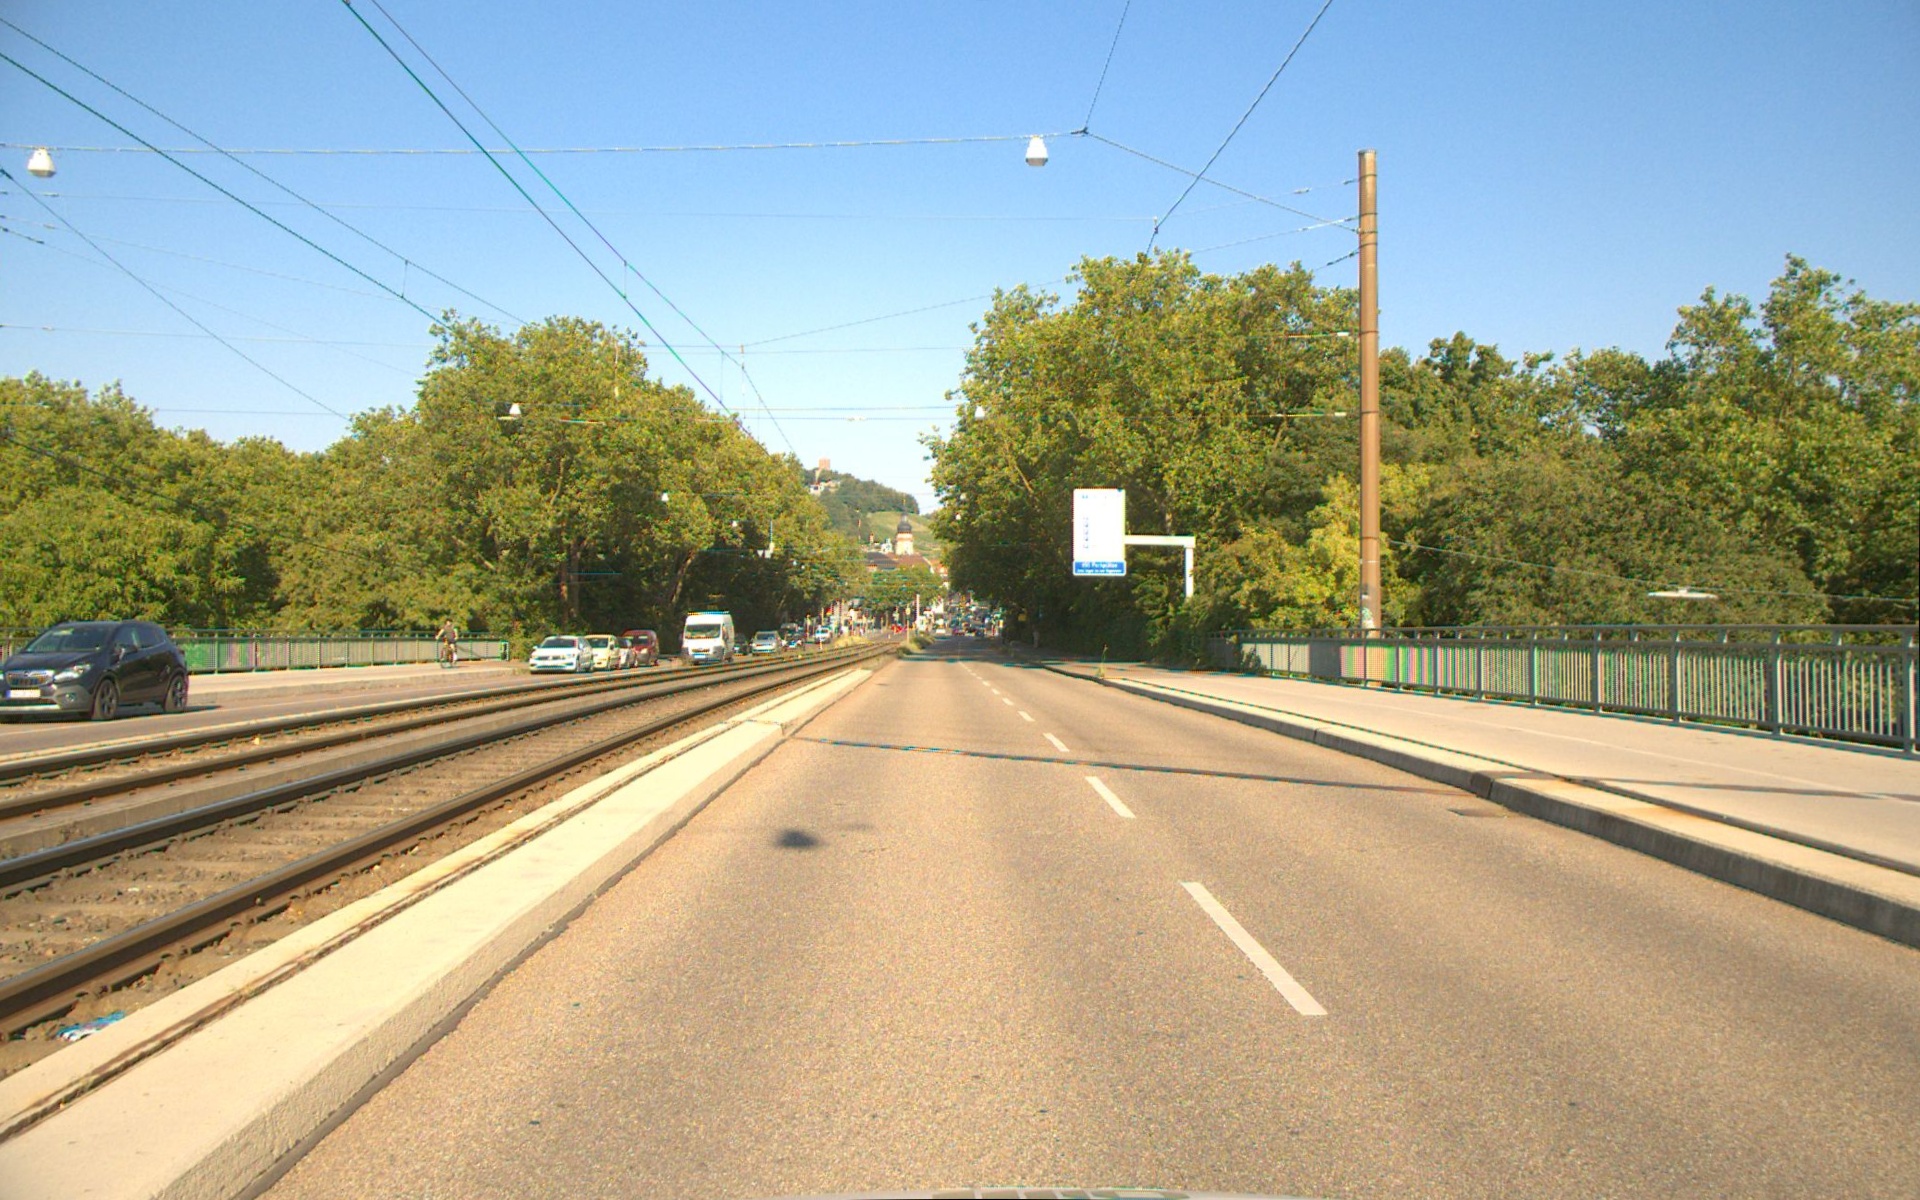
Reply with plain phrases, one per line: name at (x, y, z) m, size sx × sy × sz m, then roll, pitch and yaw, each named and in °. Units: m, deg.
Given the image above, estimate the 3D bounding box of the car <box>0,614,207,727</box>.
car at (-14.684, 1.125, 28.179) m, size 1.743 × 1.679 × 4.446 m, roll 0°, pitch 1°, yaw -1°

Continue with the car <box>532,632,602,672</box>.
car at (-15.345, 2.012, 64.771) m, size 1.706 × 1.490 × 4.953 m, roll 0°, pitch -1°, yaw -2°

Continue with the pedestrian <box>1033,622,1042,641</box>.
pedestrian at (6.583, 2.660, 140.667) m, size 0.787 × 1.573 × 0.814 m, roll -1°, pitch -1°, yaw 3°

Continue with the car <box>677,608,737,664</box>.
car at (-12.491, 1.757, 81.951) m, size 2.044 × 2.638 × 6.039 m, roll 1°, pitch -1°, yaw 0°

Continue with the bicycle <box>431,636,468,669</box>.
bicycle at (-18.302, 1.882, 59.369) m, size 0.666 × 1.117 × 2.099 m, roll 2°, pitch -1°, yaw -1°

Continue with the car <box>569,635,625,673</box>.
car at (-15.476, 2.283, 70.631) m, size 1.600 × 1.558 × 3.789 m, roll 0°, pitch -1°, yaw -1°

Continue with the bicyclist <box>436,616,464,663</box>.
bicyclist at (-18.285, 1.400, 59.304) m, size 0.666 × 1.655 × 0.890 m, roll 2°, pitch -1°, yaw -1°

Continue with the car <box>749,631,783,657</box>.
car at (-13.519, 3.067, 115.597) m, size 1.835 × 1.694 × 4.596 m, roll 0°, pitch -1°, yaw -1°

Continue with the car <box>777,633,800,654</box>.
car at (-14.555, 3.696, 140.576) m, size 1.707 × 1.652 × 4.392 m, roll -2°, pitch -1°, yaw -3°

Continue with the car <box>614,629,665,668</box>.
car at (-15.736, 2.358, 81.384) m, size 1.706 × 1.785 × 4.682 m, roll 0°, pitch -1°, yaw -2°

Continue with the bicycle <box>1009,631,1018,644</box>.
bicycle at (5.758, 4.090, 179.590) m, size 0.869 × 1.344 × 2.639 m, roll 0°, pitch -1°, yaw 0°

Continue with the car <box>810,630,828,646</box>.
car at (-17.298, 4.649, 202.479) m, size 1.954 × 1.877 × 5.298 m, roll -2°, pitch -1°, yaw -3°

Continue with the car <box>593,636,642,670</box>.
car at (-15.700, 2.429, 76.002) m, size 1.601 × 1.476 × 3.999 m, roll 0°, pitch -1°, yaw -3°

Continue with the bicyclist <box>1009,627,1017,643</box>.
bicyclist at (5.754, 3.827, 179.790) m, size 0.869 × 1.667 × 1.164 m, roll 0°, pitch -1°, yaw -1°

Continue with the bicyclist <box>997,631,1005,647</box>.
bicyclist at (4.726, 4.435, 189.657) m, size 0.869 × 1.806 × 1.221 m, roll 0°, pitch -1°, yaw -2°
